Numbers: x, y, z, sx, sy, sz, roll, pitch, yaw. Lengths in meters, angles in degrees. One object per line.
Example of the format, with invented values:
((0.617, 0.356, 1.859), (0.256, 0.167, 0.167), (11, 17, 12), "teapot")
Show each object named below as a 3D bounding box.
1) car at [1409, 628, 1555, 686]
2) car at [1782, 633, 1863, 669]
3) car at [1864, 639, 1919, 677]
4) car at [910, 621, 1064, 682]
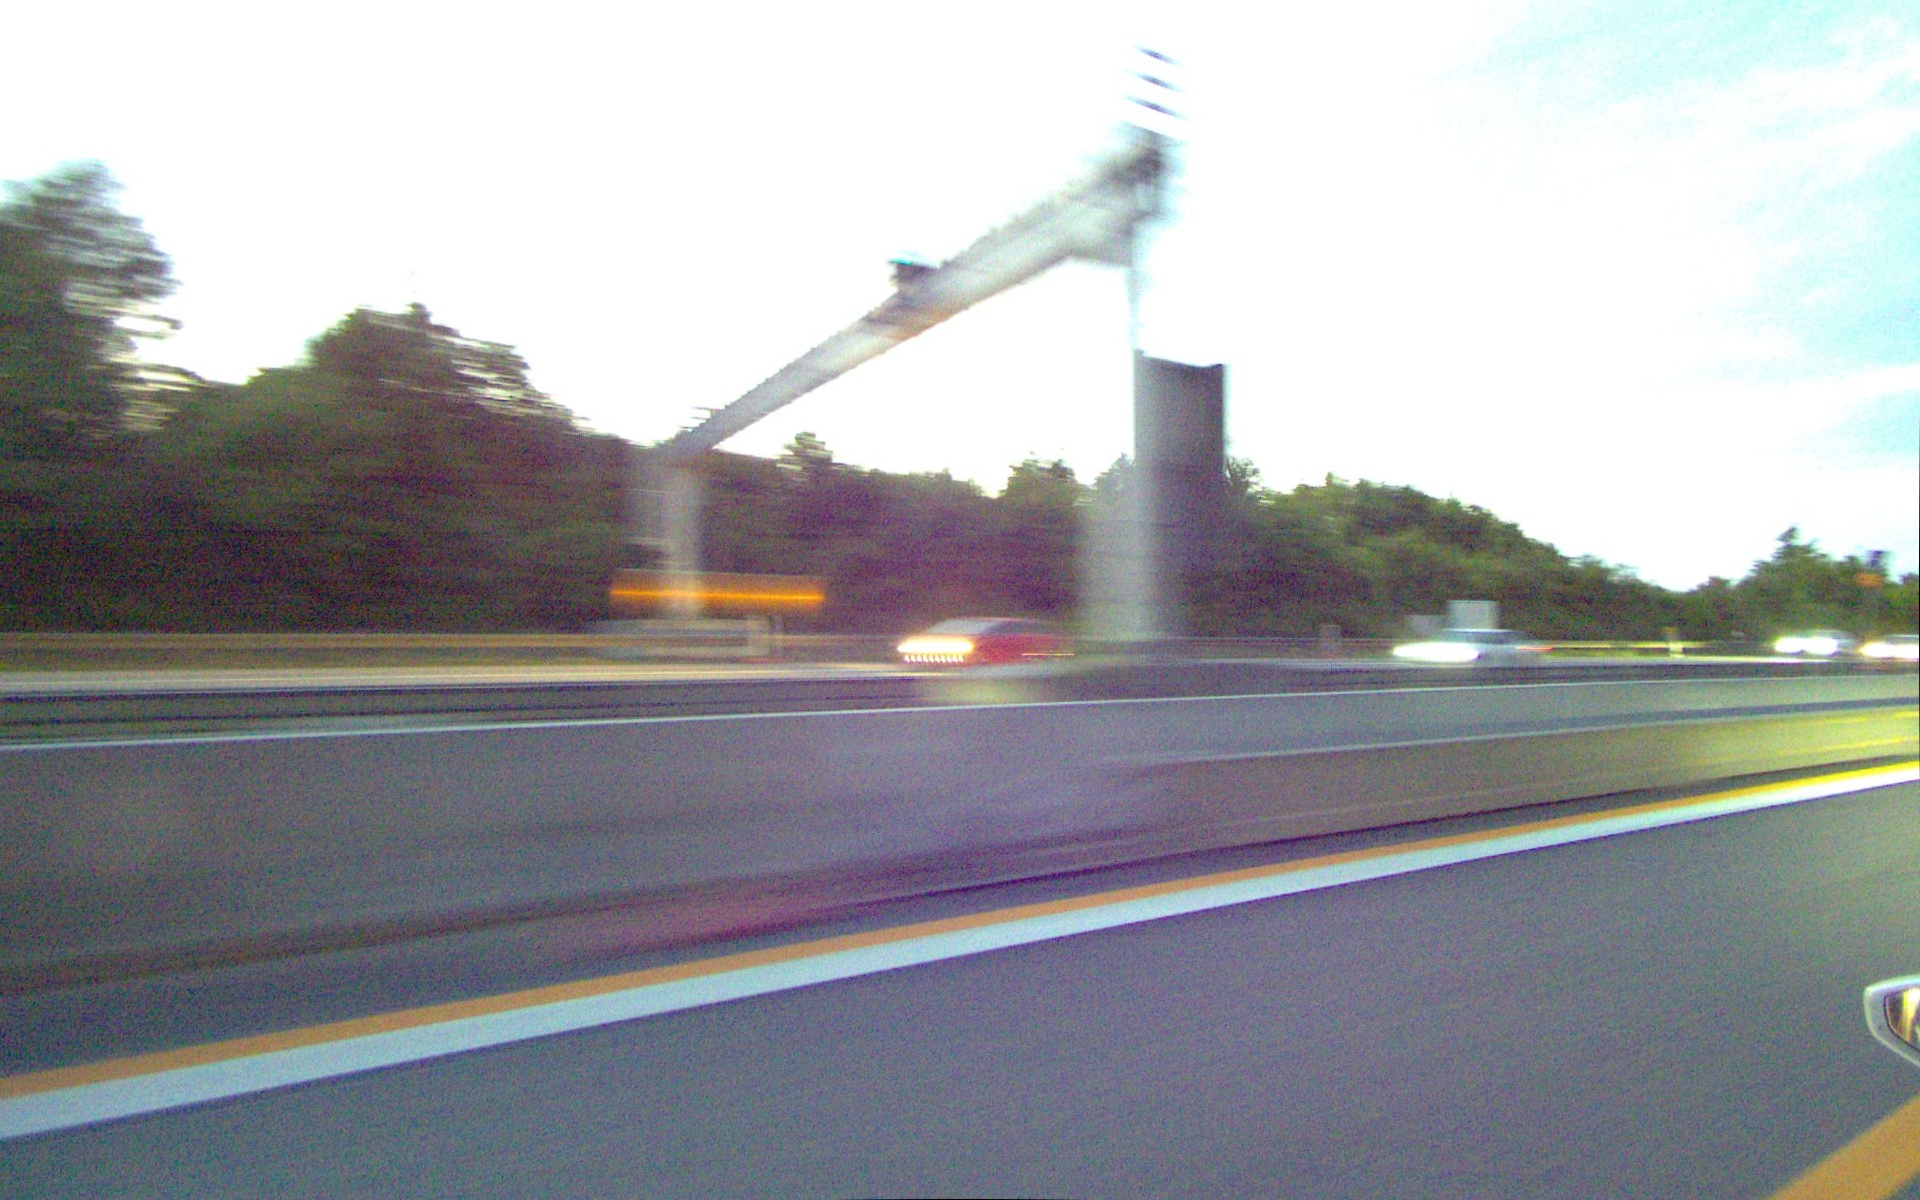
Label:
((16.964, 1.836, 32.598), (4.782, 1.683, 1.823), (2, 0, -29), "car")
((45.703, 2.699, 53.218), (3.893, 1.737, 1.899), (2, 0, -28), "car")
((46.583, 2.826, 49.256), (4.782, 1.683, 1.823), (2, 0, -29), "car")
((0.753, 1.396, 27.487), (3.884, 1.475, 1.695), (2, 0, -30), "car")
